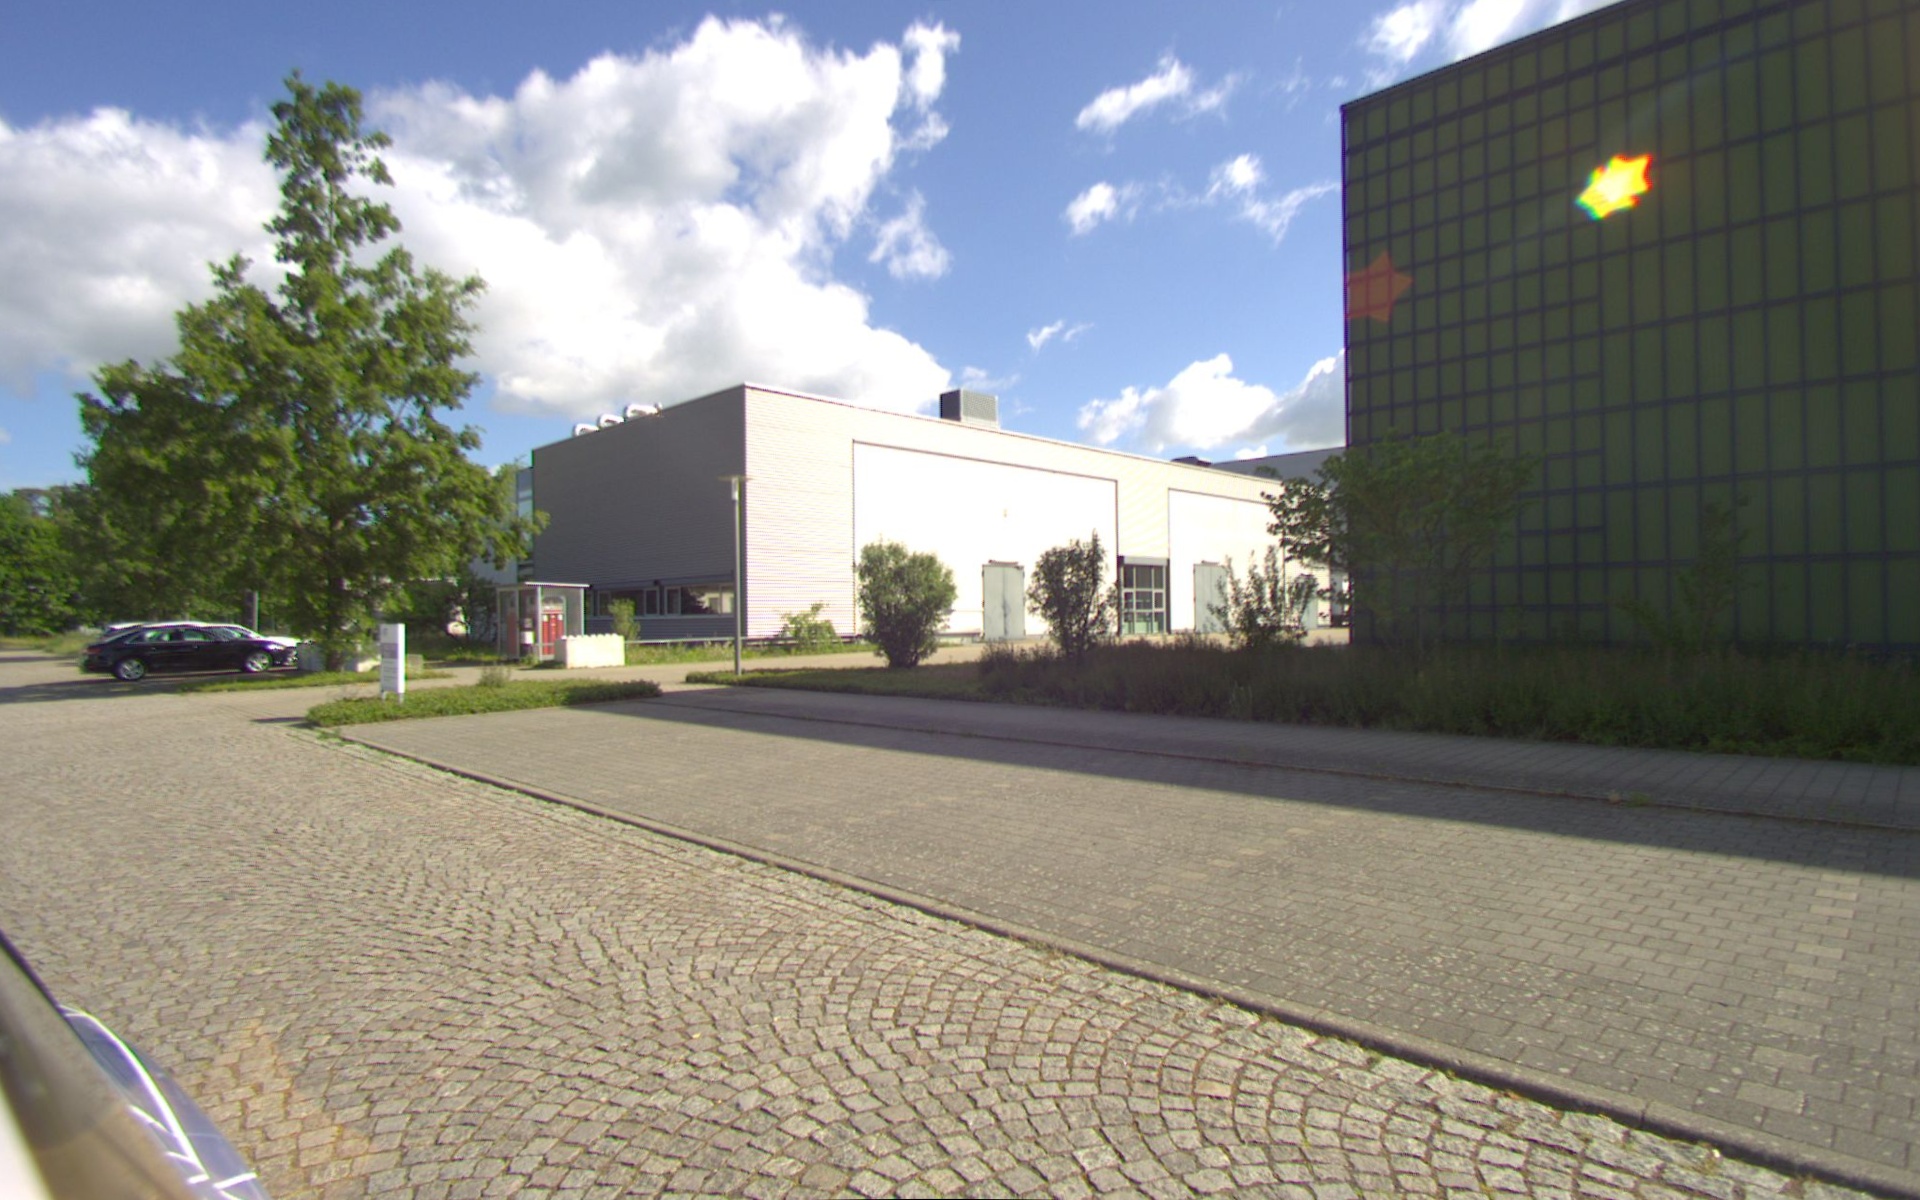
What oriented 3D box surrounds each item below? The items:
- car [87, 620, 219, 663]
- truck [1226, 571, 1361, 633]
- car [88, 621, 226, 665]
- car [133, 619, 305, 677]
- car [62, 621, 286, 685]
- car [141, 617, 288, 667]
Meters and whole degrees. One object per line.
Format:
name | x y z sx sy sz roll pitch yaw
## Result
car | -31.780 1.611 39.915 3.867 1.446 1.797 -2 0 -45
truck | 21.921 0.218 66.962 2.611 3.847 8.108 0 -2 -44
car | -30.023 1.576 37.918 3.867 1.428 1.693 -2 0 -45
car | -22.522 1.419 30.835 4.087 1.471 1.694 -2 0 -40
car | -21.618 1.398 28.000 1.757 1.434 4.667 -2 0 44
car | -25.751 1.415 35.011 3.867 1.457 1.757 -2 0 -45
